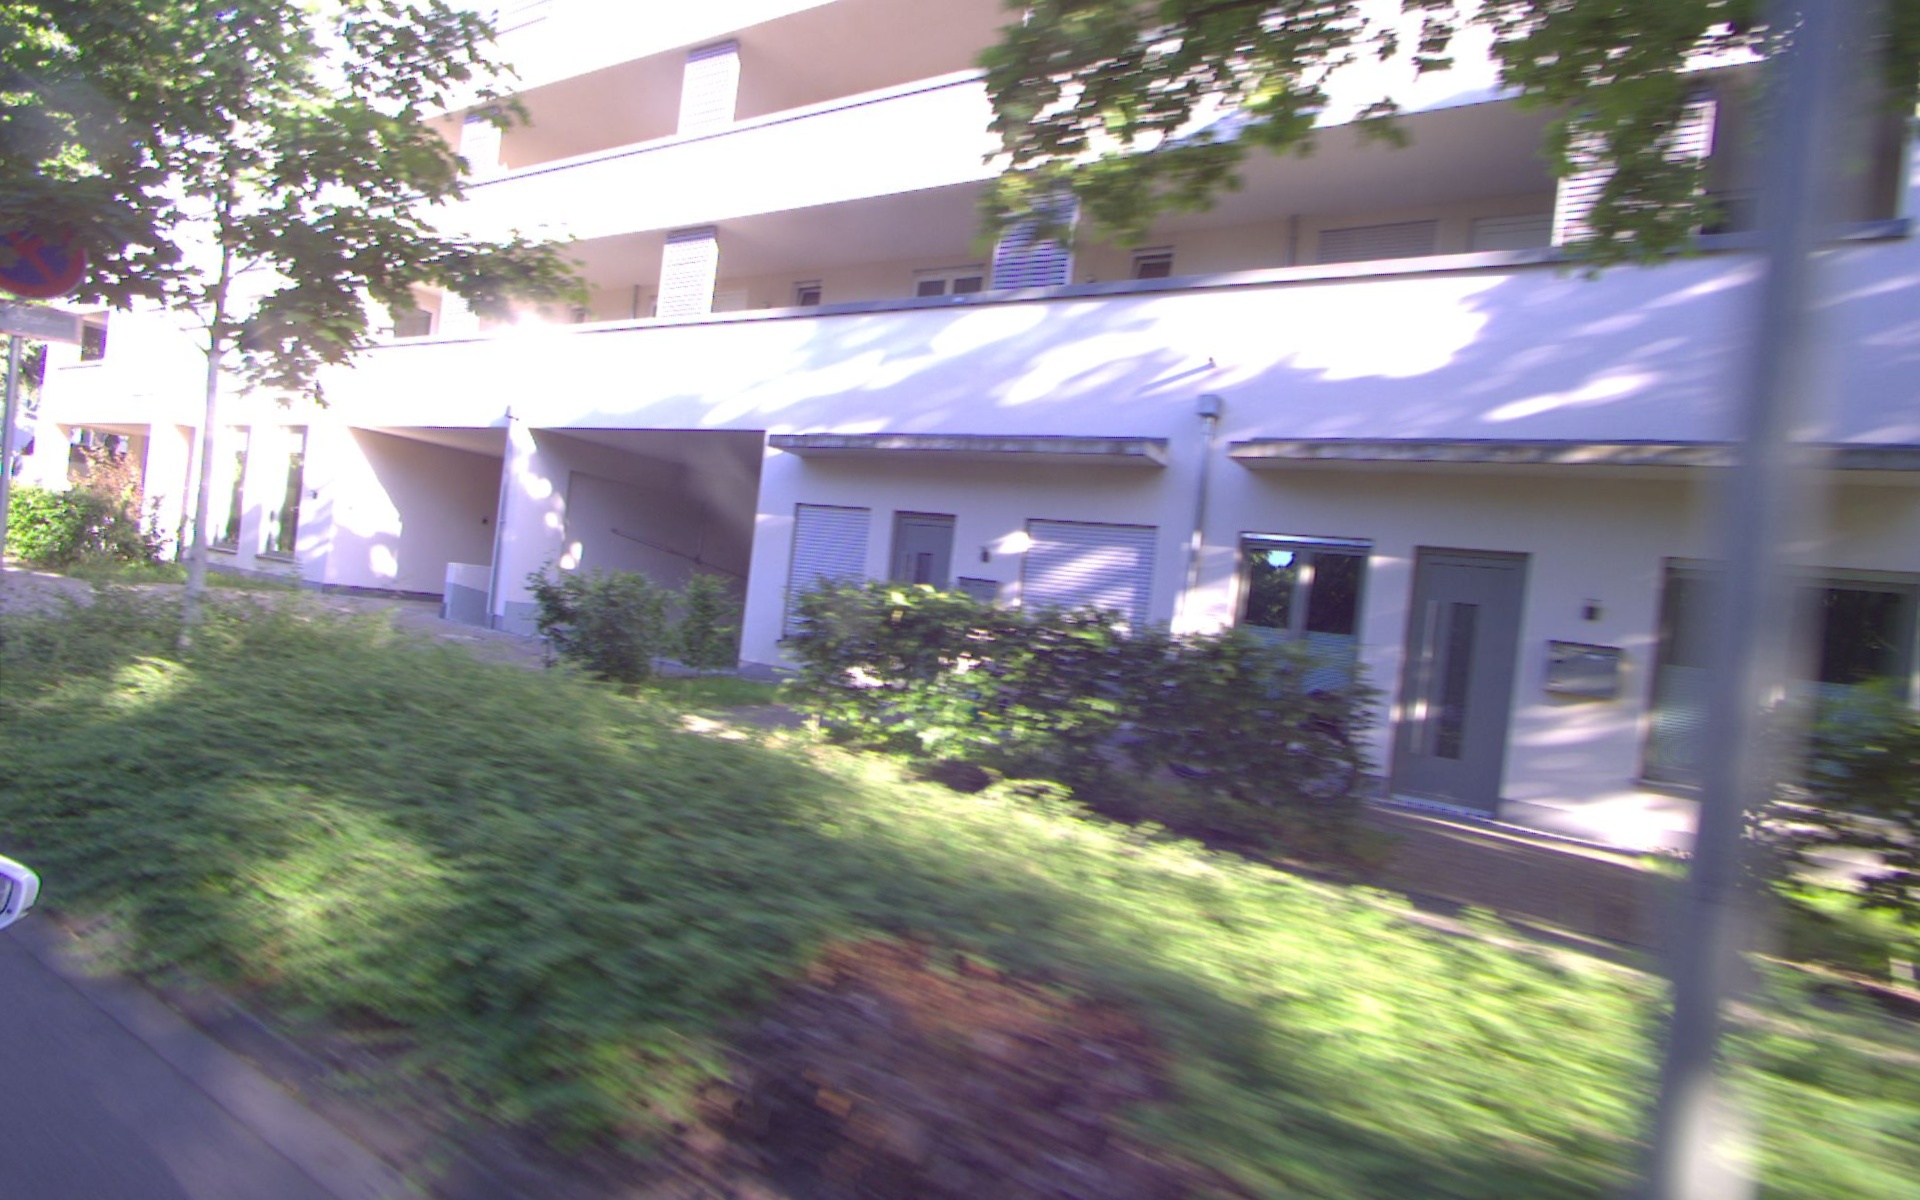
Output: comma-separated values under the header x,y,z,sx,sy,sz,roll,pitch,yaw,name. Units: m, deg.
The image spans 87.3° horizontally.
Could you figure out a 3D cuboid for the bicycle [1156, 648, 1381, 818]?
x,y,z,sx,sy,sz,roll,pitch,yaw,name
2.765,1.157,9.082,1.724,1.205,0.619,7,-1,32,bicycle
